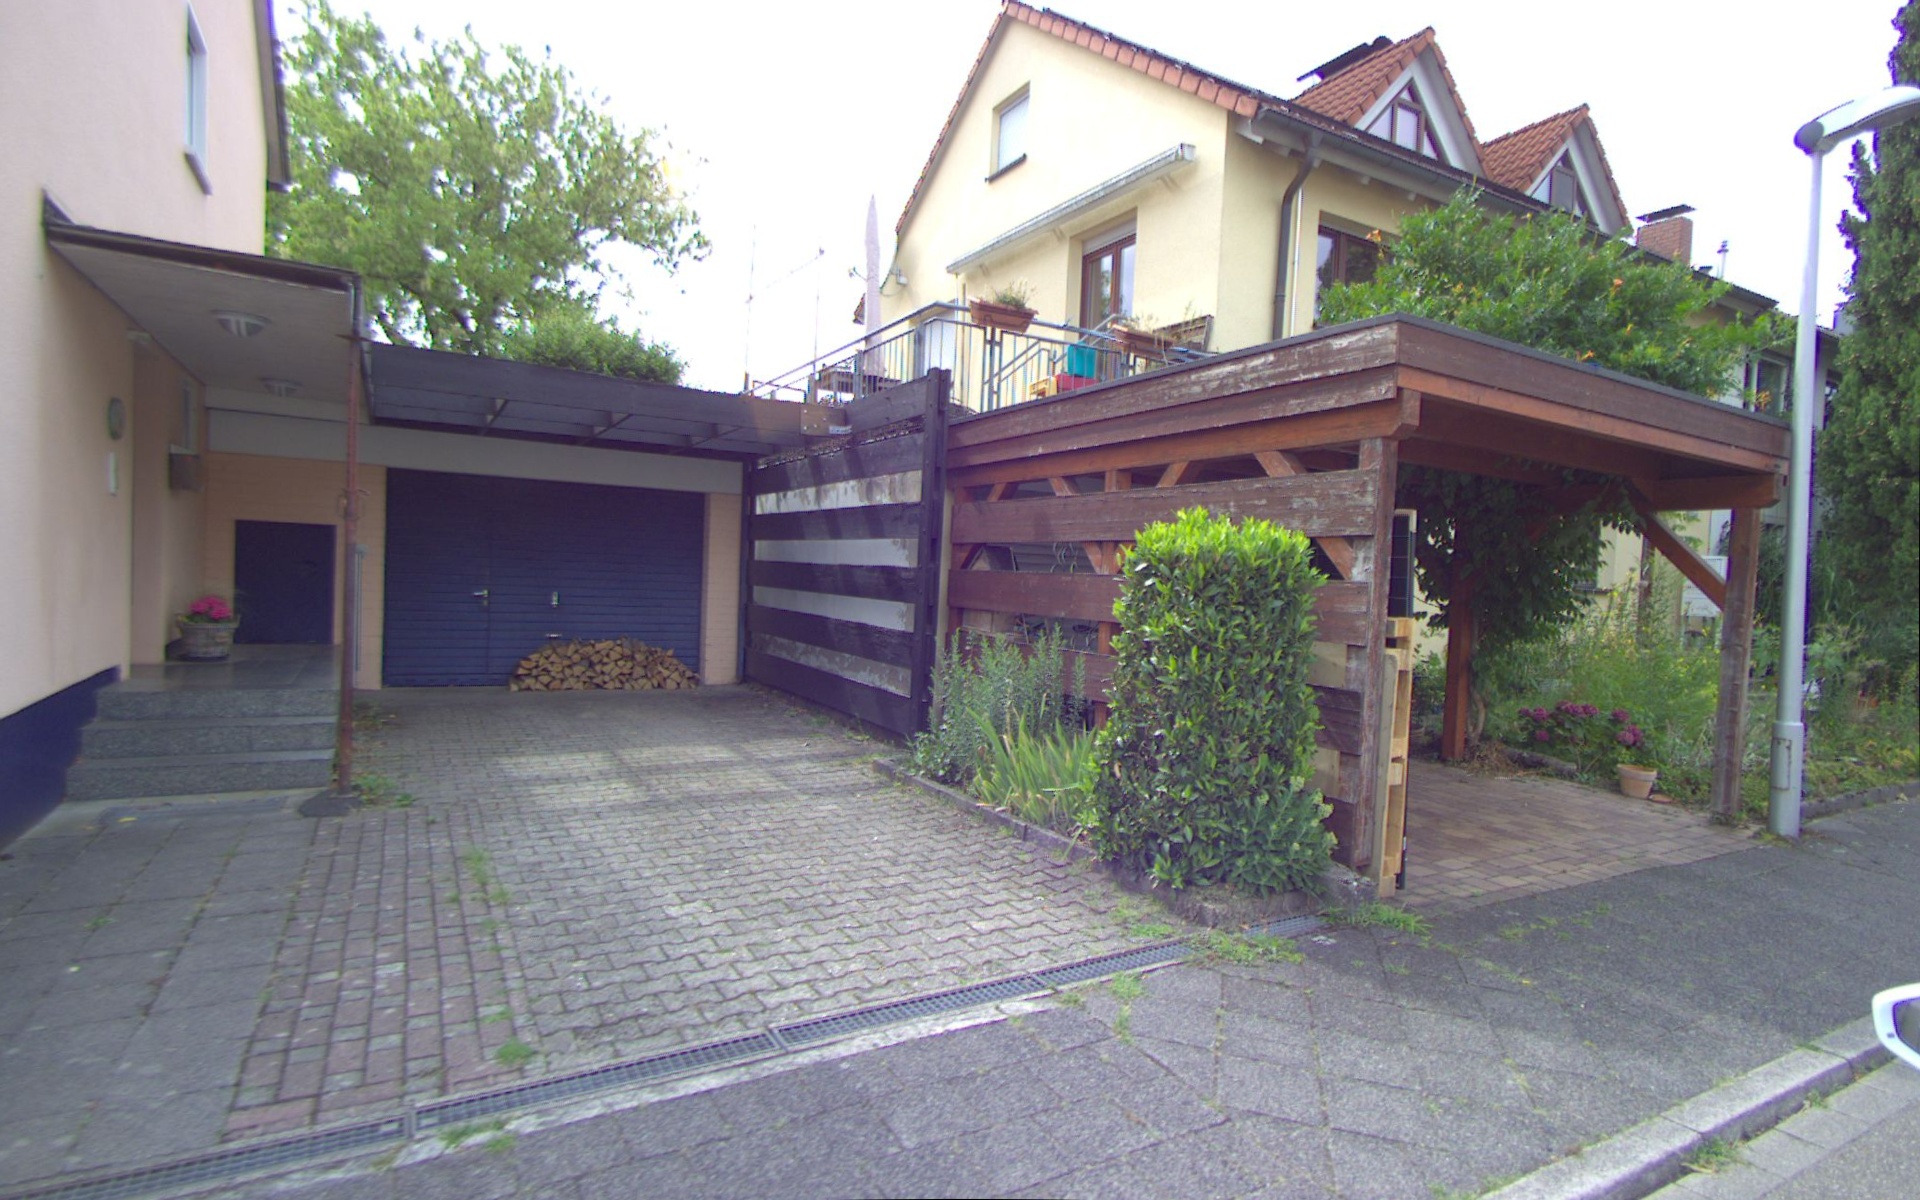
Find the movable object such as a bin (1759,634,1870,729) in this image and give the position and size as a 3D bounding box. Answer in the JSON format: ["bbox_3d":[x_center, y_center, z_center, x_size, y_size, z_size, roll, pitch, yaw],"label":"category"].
[{"bbox_3d":[9.551,0.893,11.237,0.742,0.969,0.708,1,1,-30],"label":"movable object such as a bin"}]
